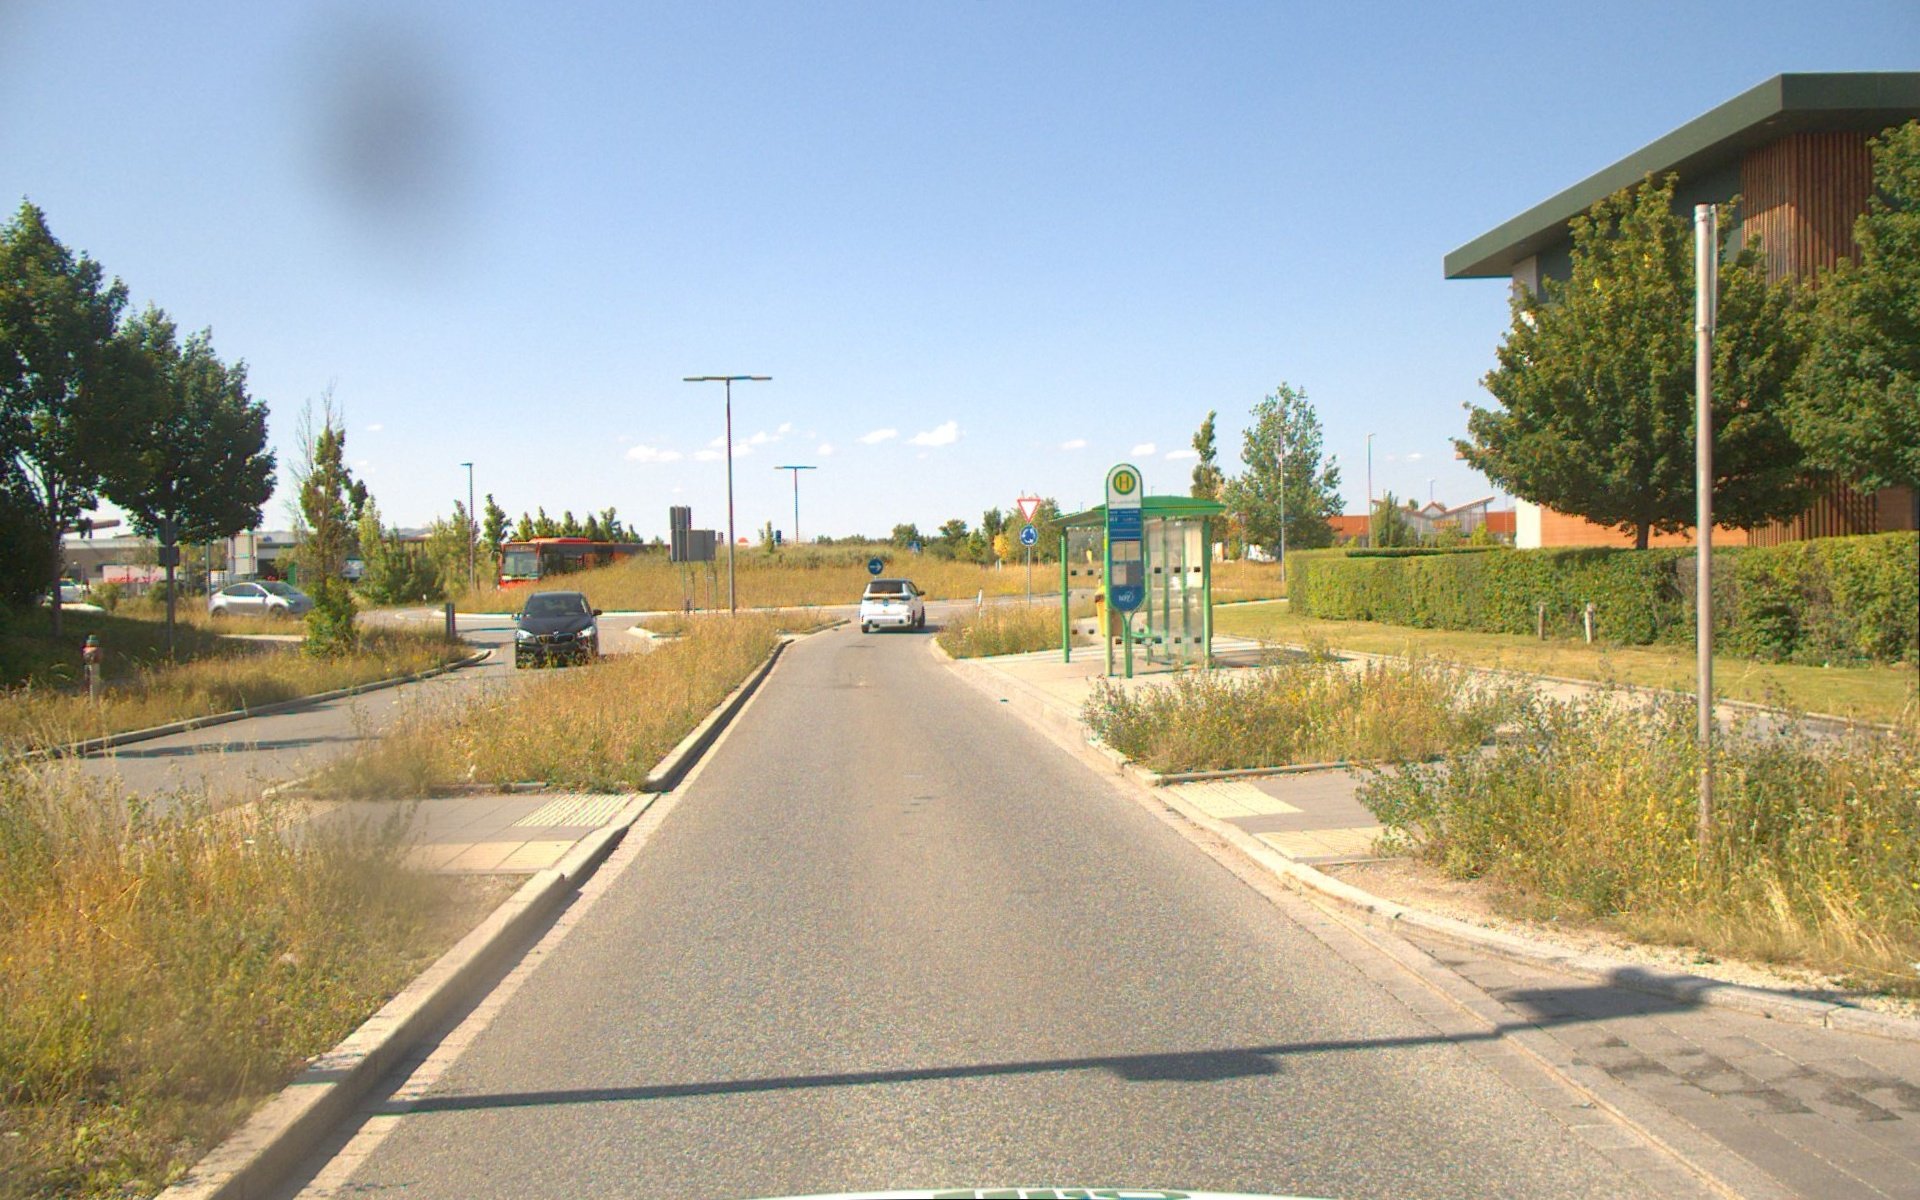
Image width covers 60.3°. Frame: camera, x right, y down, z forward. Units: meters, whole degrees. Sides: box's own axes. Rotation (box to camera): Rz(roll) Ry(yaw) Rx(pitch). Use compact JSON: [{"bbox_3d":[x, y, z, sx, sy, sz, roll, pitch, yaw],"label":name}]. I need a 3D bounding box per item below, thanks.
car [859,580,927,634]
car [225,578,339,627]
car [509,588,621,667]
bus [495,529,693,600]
[{"bbox_3d":[-1.884,0.185,47.493,1.583,1.459,3.794,-1,1,3],"label":"car"},{"bbox_3d":[-24.978,0.047,60.880,4.537,1.654,1.955,1,3,39],"label":"car"},{"bbox_3d":[-8.797,0.567,37.147,1.724,1.570,4.237,-3,1,-4],"label":"car"},{"bbox_3d":[-18.670,-1.949,85.677,2.733,3.132,12.191,-1,3,28],"label":"bus"}]
